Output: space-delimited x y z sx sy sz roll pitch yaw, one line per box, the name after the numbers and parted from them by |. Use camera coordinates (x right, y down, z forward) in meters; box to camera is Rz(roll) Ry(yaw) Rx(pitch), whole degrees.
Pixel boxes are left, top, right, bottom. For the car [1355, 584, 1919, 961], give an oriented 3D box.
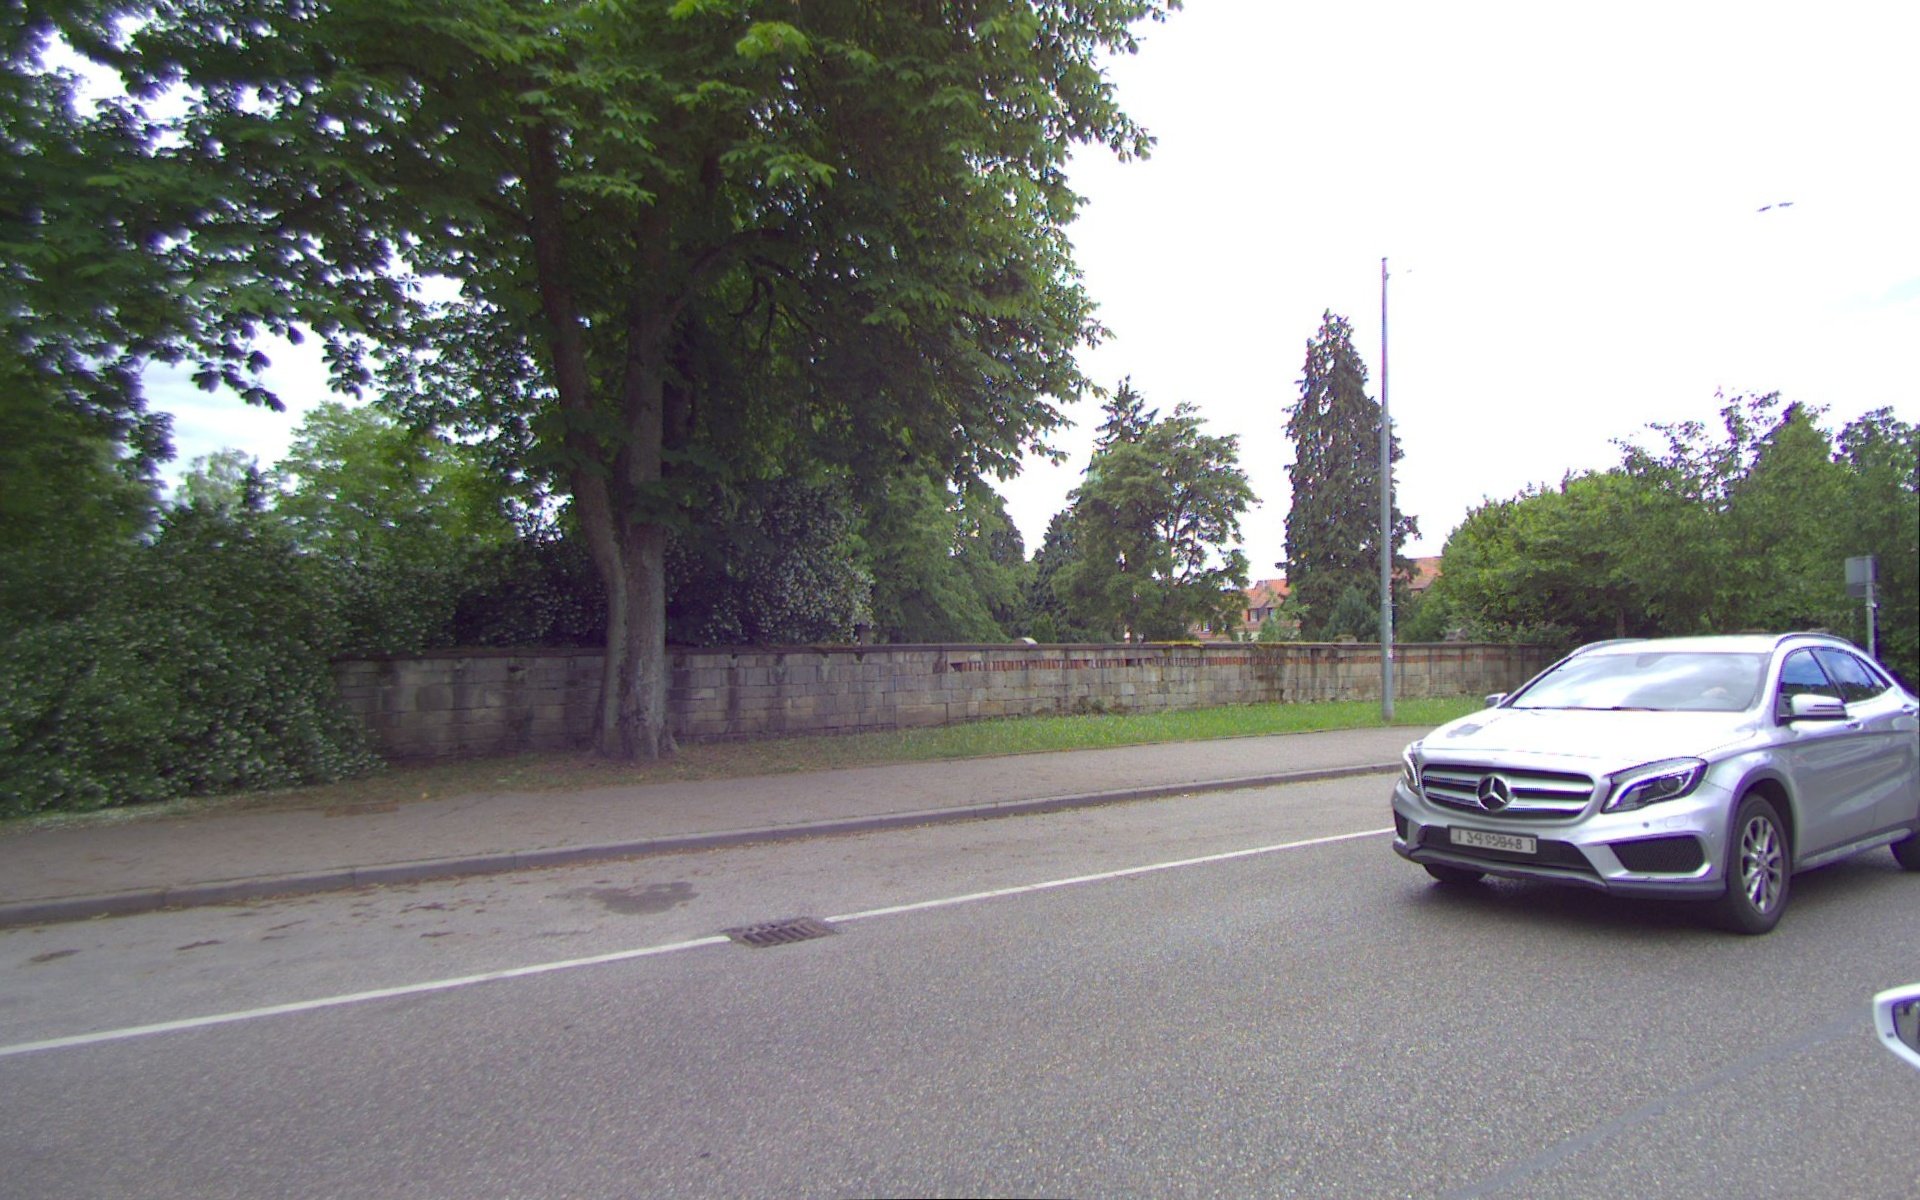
4.593 0.884 6.354 4.075 1.675 1.776 2 -5 -32 | car
